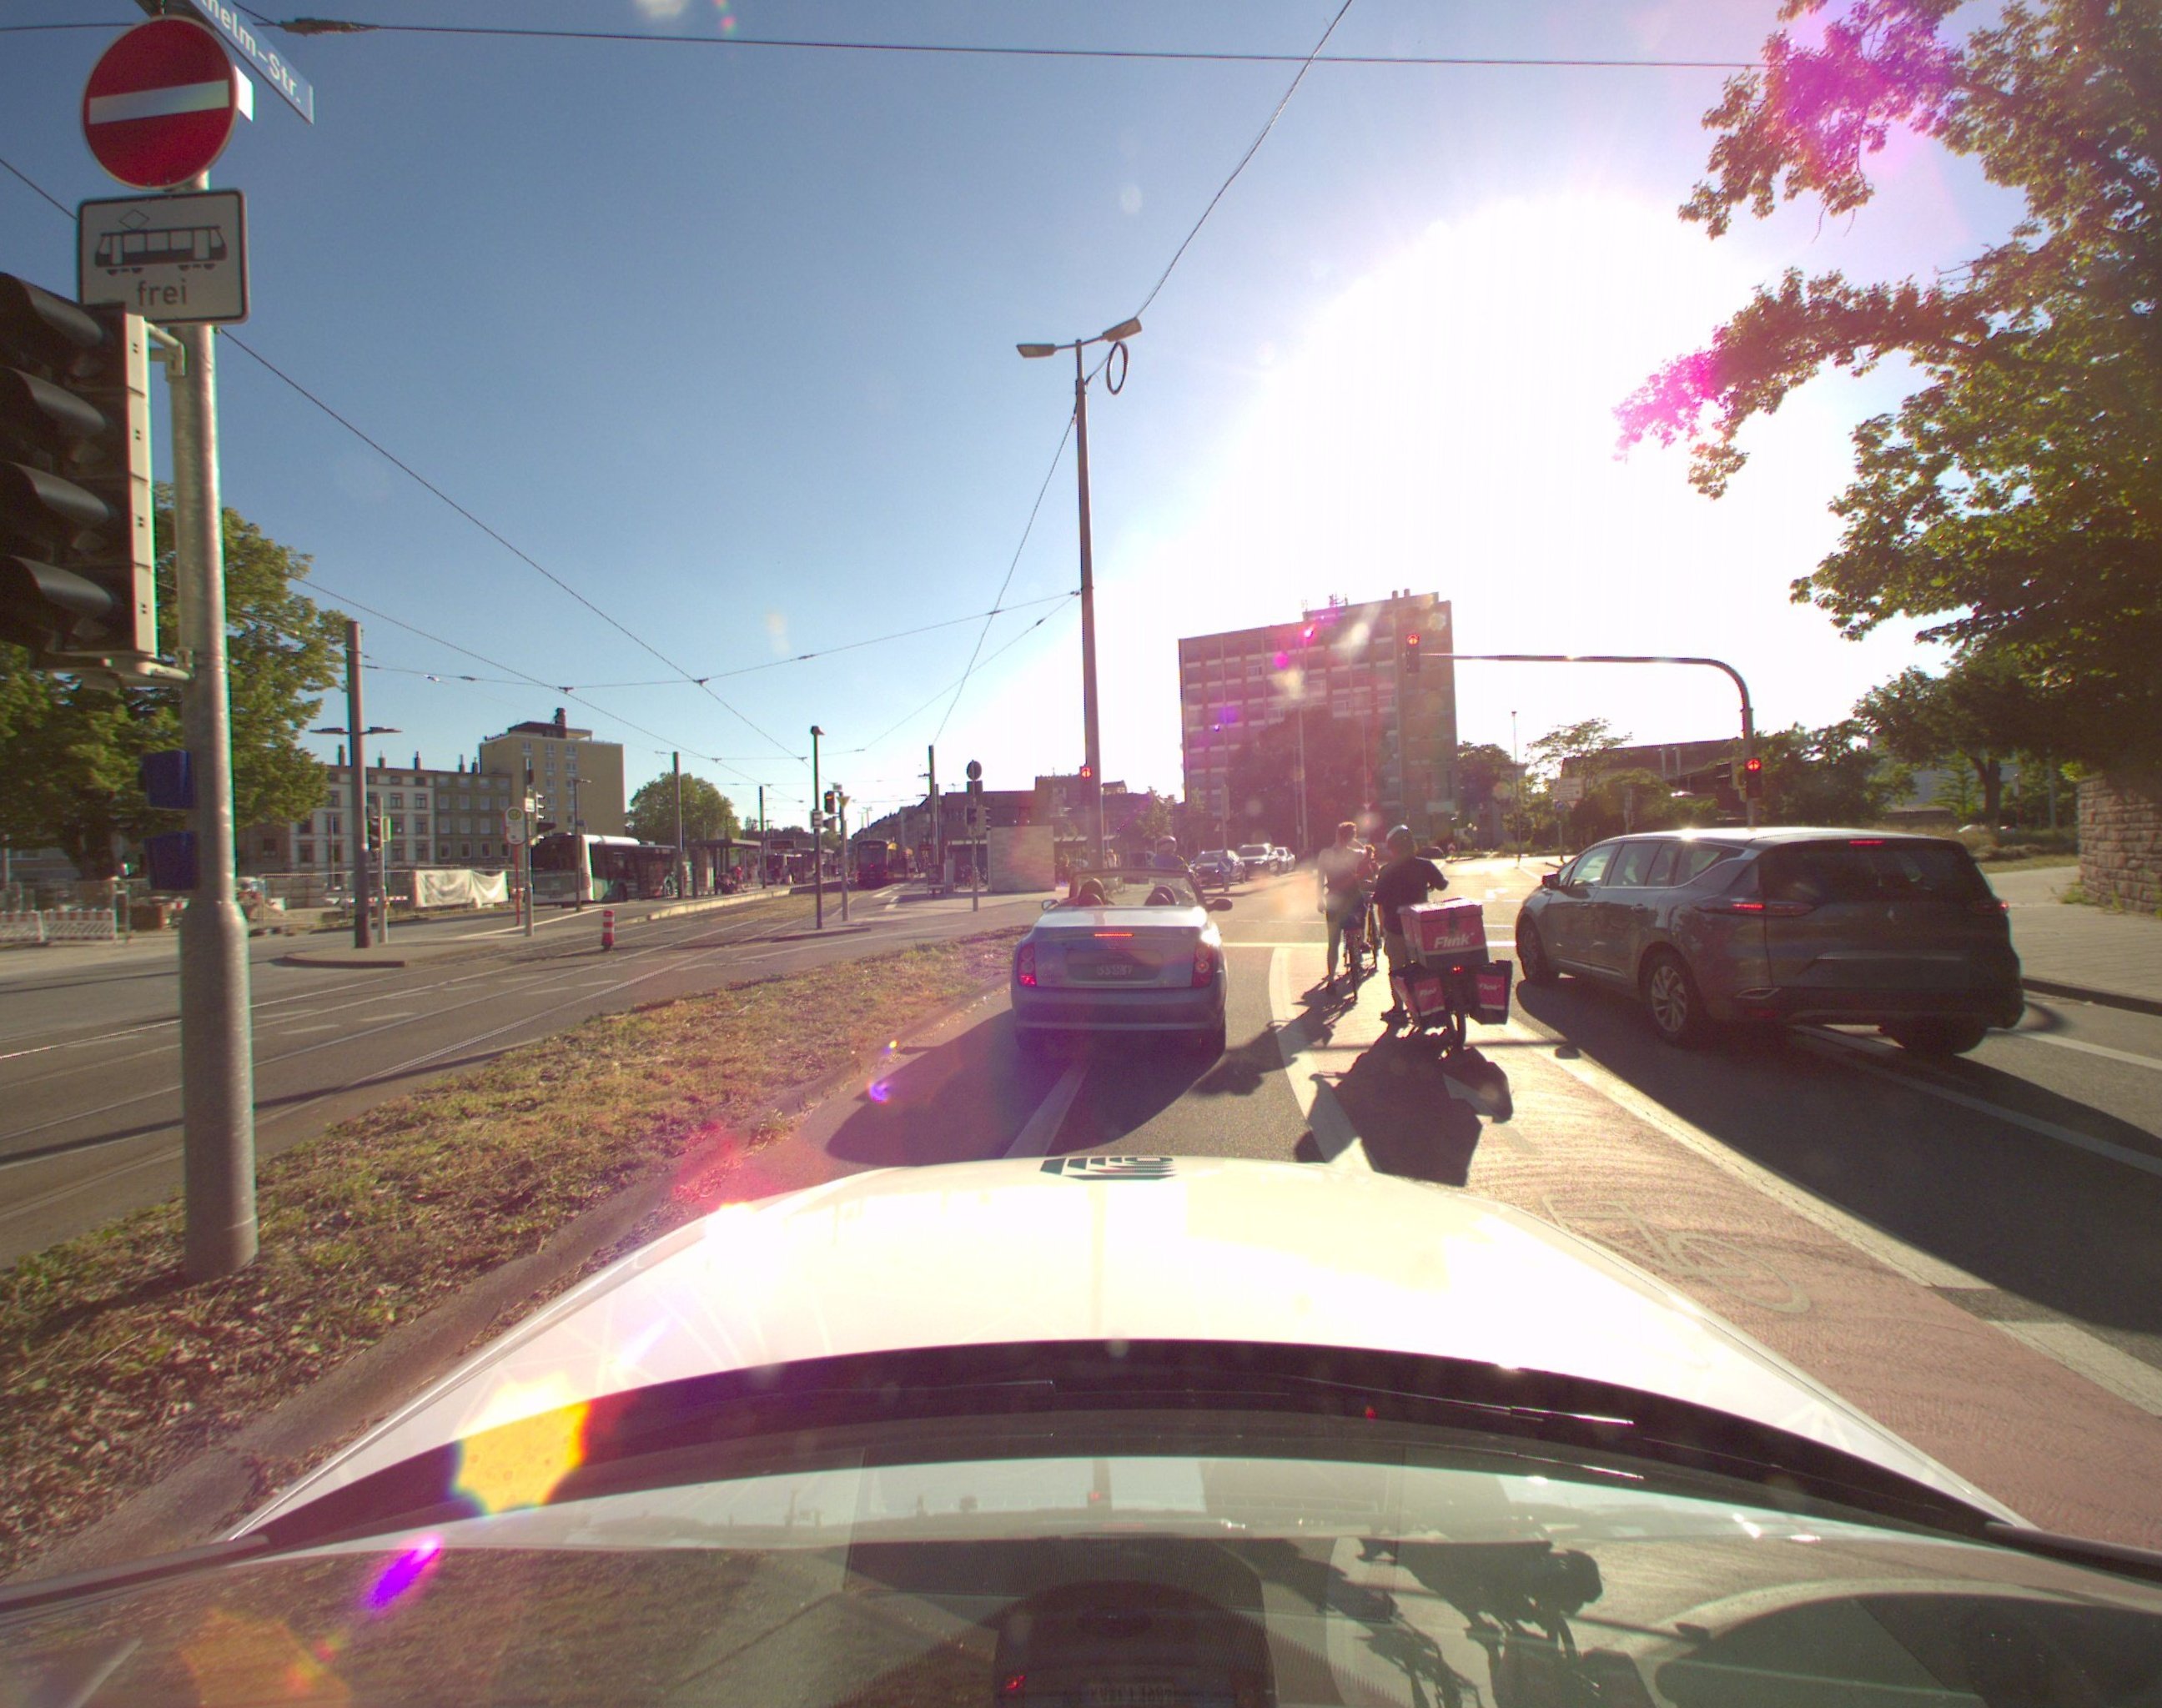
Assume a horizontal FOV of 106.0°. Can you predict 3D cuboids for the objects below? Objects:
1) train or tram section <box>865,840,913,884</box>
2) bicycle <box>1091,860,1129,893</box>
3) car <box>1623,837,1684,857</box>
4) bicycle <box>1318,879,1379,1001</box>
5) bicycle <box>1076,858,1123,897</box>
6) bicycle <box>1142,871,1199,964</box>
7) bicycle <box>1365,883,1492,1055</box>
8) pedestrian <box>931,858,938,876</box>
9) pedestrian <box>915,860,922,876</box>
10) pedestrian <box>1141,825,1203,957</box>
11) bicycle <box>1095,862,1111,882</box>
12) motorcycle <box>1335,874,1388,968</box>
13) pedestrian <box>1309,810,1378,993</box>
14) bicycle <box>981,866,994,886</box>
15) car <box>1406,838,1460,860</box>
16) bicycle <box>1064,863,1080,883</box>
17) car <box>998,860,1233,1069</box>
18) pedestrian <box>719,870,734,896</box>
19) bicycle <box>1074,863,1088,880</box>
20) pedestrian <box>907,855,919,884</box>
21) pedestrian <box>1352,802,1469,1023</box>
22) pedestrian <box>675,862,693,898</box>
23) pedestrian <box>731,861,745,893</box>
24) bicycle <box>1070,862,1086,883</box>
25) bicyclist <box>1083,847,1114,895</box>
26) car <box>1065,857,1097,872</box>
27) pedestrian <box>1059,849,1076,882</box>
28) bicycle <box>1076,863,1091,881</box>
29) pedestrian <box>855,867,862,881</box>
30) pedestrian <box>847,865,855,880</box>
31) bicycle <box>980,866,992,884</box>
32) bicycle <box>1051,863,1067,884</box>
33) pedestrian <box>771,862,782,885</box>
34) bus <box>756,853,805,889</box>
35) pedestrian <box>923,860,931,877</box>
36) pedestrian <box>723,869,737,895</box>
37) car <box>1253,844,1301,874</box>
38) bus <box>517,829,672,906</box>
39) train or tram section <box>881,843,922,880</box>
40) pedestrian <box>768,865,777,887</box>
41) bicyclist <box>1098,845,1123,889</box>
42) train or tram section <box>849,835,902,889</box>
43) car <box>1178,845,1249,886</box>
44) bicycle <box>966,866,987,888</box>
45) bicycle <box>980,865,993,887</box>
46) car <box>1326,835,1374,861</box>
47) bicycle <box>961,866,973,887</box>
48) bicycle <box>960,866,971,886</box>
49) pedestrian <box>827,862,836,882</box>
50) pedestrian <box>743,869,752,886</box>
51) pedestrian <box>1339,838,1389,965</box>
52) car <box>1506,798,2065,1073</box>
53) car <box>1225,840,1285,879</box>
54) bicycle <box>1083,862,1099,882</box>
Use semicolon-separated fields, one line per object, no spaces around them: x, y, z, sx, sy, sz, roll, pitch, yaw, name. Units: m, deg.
-17.068;0.706;73.256;3.010;3.597;12.165;0;-1;-8;train or tram section
1.153;0.847;31.572;0.668;1.180;2.195;-3;0;24;bicycle
51.242;-0.646;72.985;4.337;1.530;1.817;-4;-1;35;car
2.932;0.876;9.021;0.559;1.151;1.958;-1;-1;17;bicycle
0.674;0.812;28.969;0.668;1.250;2.471;-5;-1;24;bicycle
1.356;0.866;11.986;0.604;1.191;2.422;-1;-1;12;bicycle
2.933;0.874;7.094;0.550;1.171;2.380;-1;-1;12;bicycle
-14.755;1.328;82.034;0.639;1.749;0.732;-2;-1;-17;pedestrian
-18.074;1.532;90.534;0.604;1.749;0.830;-2;-1;-6;pedestrian
1.368;0.527;12.056;0.828;1.869;0.923;-1;-1;10;pedestrian
1.237;1.007;45.679;0.606;1.115;1.892;0;-1;-7;bicycle
3.826;0.845;11.104;0.608;1.097;2.371;-1;-1;19;motorcycle
2.835;0.491;8.838;0.654;1.869;0.876;-1;-1;17;pedestrian
-5.376;1.226;46.734;0.607;1.115;1.890;0;-1;-10;bicycle
35.355;-0.512;81.833;4.645;1.945;1.927;-3;-1;35;car
-0.543;1.093;47.351;0.607;1.115;1.890;0;-1;-10;bicycle
0.548;0.783;7.795;1.650;1.441;4.164;-1;-1;9;car
-18.604;1.522;42.775;0.617;1.340;0.438;-2;-1;-15;pedestrian
-0.032;1.133;53.390;0.607;1.115;1.890;0;-1;-10;bicycle
-10.568;0.976;51.336;0.639;1.749;0.569;-2;-1;-17;pedestrian
2.976;0.503;7.446;0.801;1.869;0.959;-1;-1;10;pedestrian
-19.622;1.273;40.263;0.536;1.749;0.559;-2;-1;-4;pedestrian
-19.112;1.277;45.338;0.571;1.749;0.636;-2;-1;-15;pedestrian
-0.180;1.015;45.410;0.607;1.115;1.890;0;-1;-10;bicycle
0.626;0.596;28.903;0.702;1.657;0.906;-5;-2;24;bicyclist
-0.032;1.177;88.863;1.653;1.560;3.559;-2;0;-37;car
-0.785;0.674;46.928;0.901;1.869;0.684;0;-1;-11;pedestrian
0.129;1.138;51.413;0.607;1.115;1.890;0;-1;-10;bicycle
-27.479;2.452;100.615;0.735;1.749;0.637;-2;-1;-14;pedestrian
-28.484;2.265;100.901;0.732;1.749;0.638;-2;-1;-6;pedestrian
-5.903;1.288;50.623;0.607;1.115;1.890;0;-1;-10;bicycle
-1.255;1.082;45.294;0.607;1.115;1.890;0;-1;-10;bicycle
-23.700;1.533;63.379;0.641;1.749;0.567;-2;-1;-25;pedestrian
-29.670;1.589;80.947;2.723;3.274;13.409;0;-1;-12;bus
-15.429;1.456;81.470;0.639;1.749;0.732;-2;-1;-17;pedestrian
-18.733;1.476;43.462;0.571;1.346;0.636;-2;-1;-15;pedestrian
11.165;0.251;46.216;1.678;1.560;4.004;-3;0;28;car
-22.372;0.575;38.221;2.652;3.135;9.617;0;-1;-8;bus
-18.603;0.814;85.228;3.037;3.597;12.021;0;0;-7;train or tram section
-25.484;1.787;67.208;0.571;1.749;0.636;-2;-1;-17;pedestrian
1.146;0.490;31.601;0.702;1.657;0.747;-3;-1;24;bicyclist
-15.263;0.583;61.215;2.881;3.597;12.158;0;-1;-10;train or tram section
5.546;0.469;33.642;1.720;1.574;3.948;-1;-1;28;car
-5.468;1.204;42.735;0.603;1.115;1.901;-1;-1;8;bicycle
-5.179;1.194;44.665;0.607;1.115;1.890;0;-1;-10;bicycle
22.210;-0.507;67.180;1.890;1.945;4.735;-3;-1;43;car
-6.214;1.233;44.358;0.607;1.115;1.890;0;-1;-10;bicycle
-6.562;1.251;46.293;0.606;1.115;1.891;0;-1;-8;bicycle
-22.813;1.622;74.427;0.641;1.749;0.567;-2;-1;-25;pedestrian
-34.367;2.430;83.920;0.638;1.749;0.570;-2;-1;-10;pedestrian
3.769;0.606;10.844;0.583;1.598;1.030;-1;-1;19;pedestrian
5.540;0.523;7.319;1.820;1.689;4.381;-1;-1;10;car
8.544;0.244;39.675;1.745;1.706;4.557;-4;-1;26;car
0.555;1.056;47.713;0.607;1.115;1.890;0;-1;-10;bicycle
